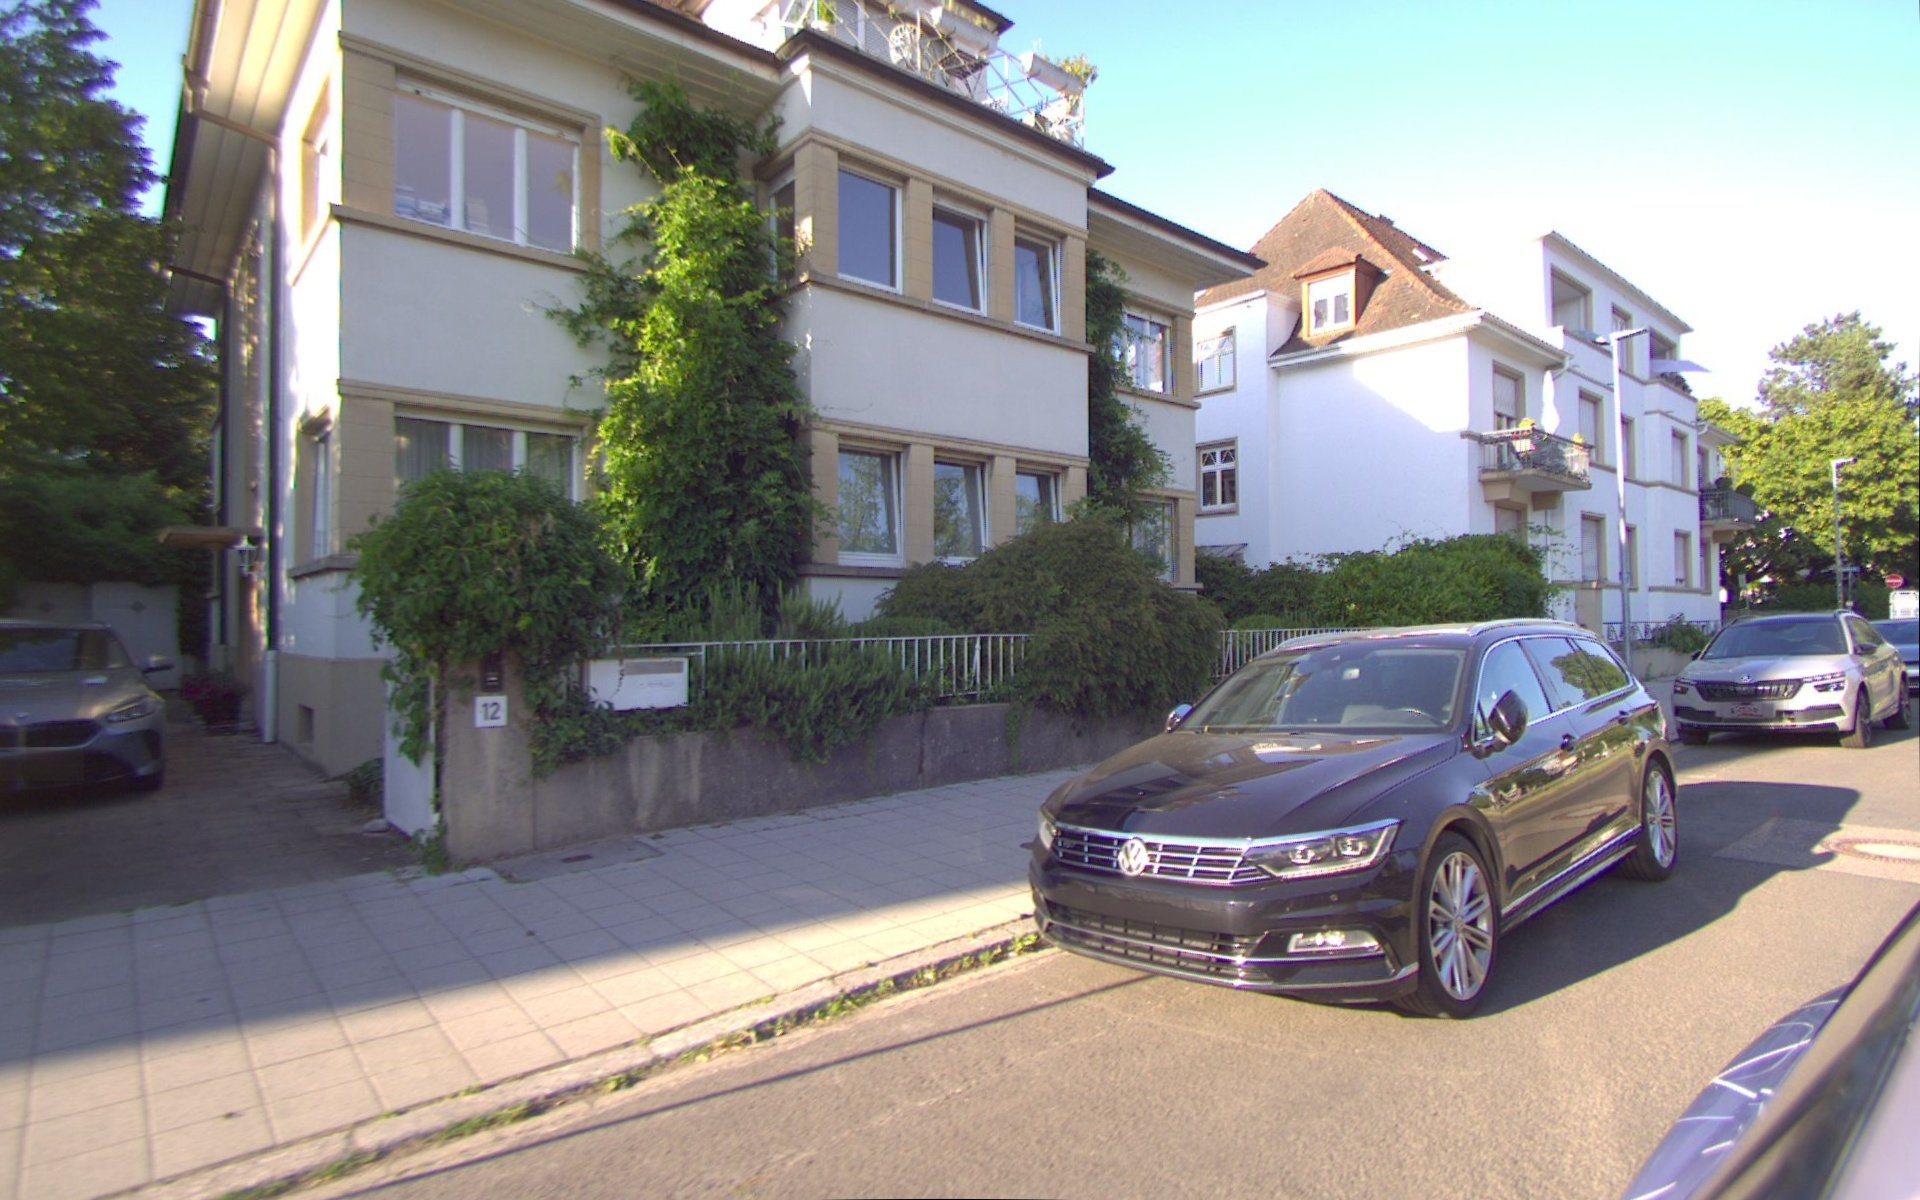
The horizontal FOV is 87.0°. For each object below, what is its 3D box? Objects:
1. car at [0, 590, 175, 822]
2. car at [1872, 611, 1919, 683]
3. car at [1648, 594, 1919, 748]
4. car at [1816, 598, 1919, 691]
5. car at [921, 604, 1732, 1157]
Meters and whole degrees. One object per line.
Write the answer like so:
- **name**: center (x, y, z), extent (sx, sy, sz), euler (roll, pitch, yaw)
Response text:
- **car**: center (-8.156, 0.787, 8.820), extent (1.841, 1.668, 3.993), euler (1, -1, -41)
- **car**: center (22.011, 0.955, 22.714), extent (4.230, 1.454, 1.763), euler (0, -7, -43)
- **car**: center (10.452, 0.786, 12.585), extent (4.382, 1.557, 1.886), euler (-1, -4, -39)
- **car**: center (18.107, 0.848, 19.298), extent (4.485, 1.580, 1.913), euler (2, -6, -41)
- **car**: center (2.302, 0.934, 5.458), extent (4.802, 1.618, 1.995), euler (-1, -5, -42)
